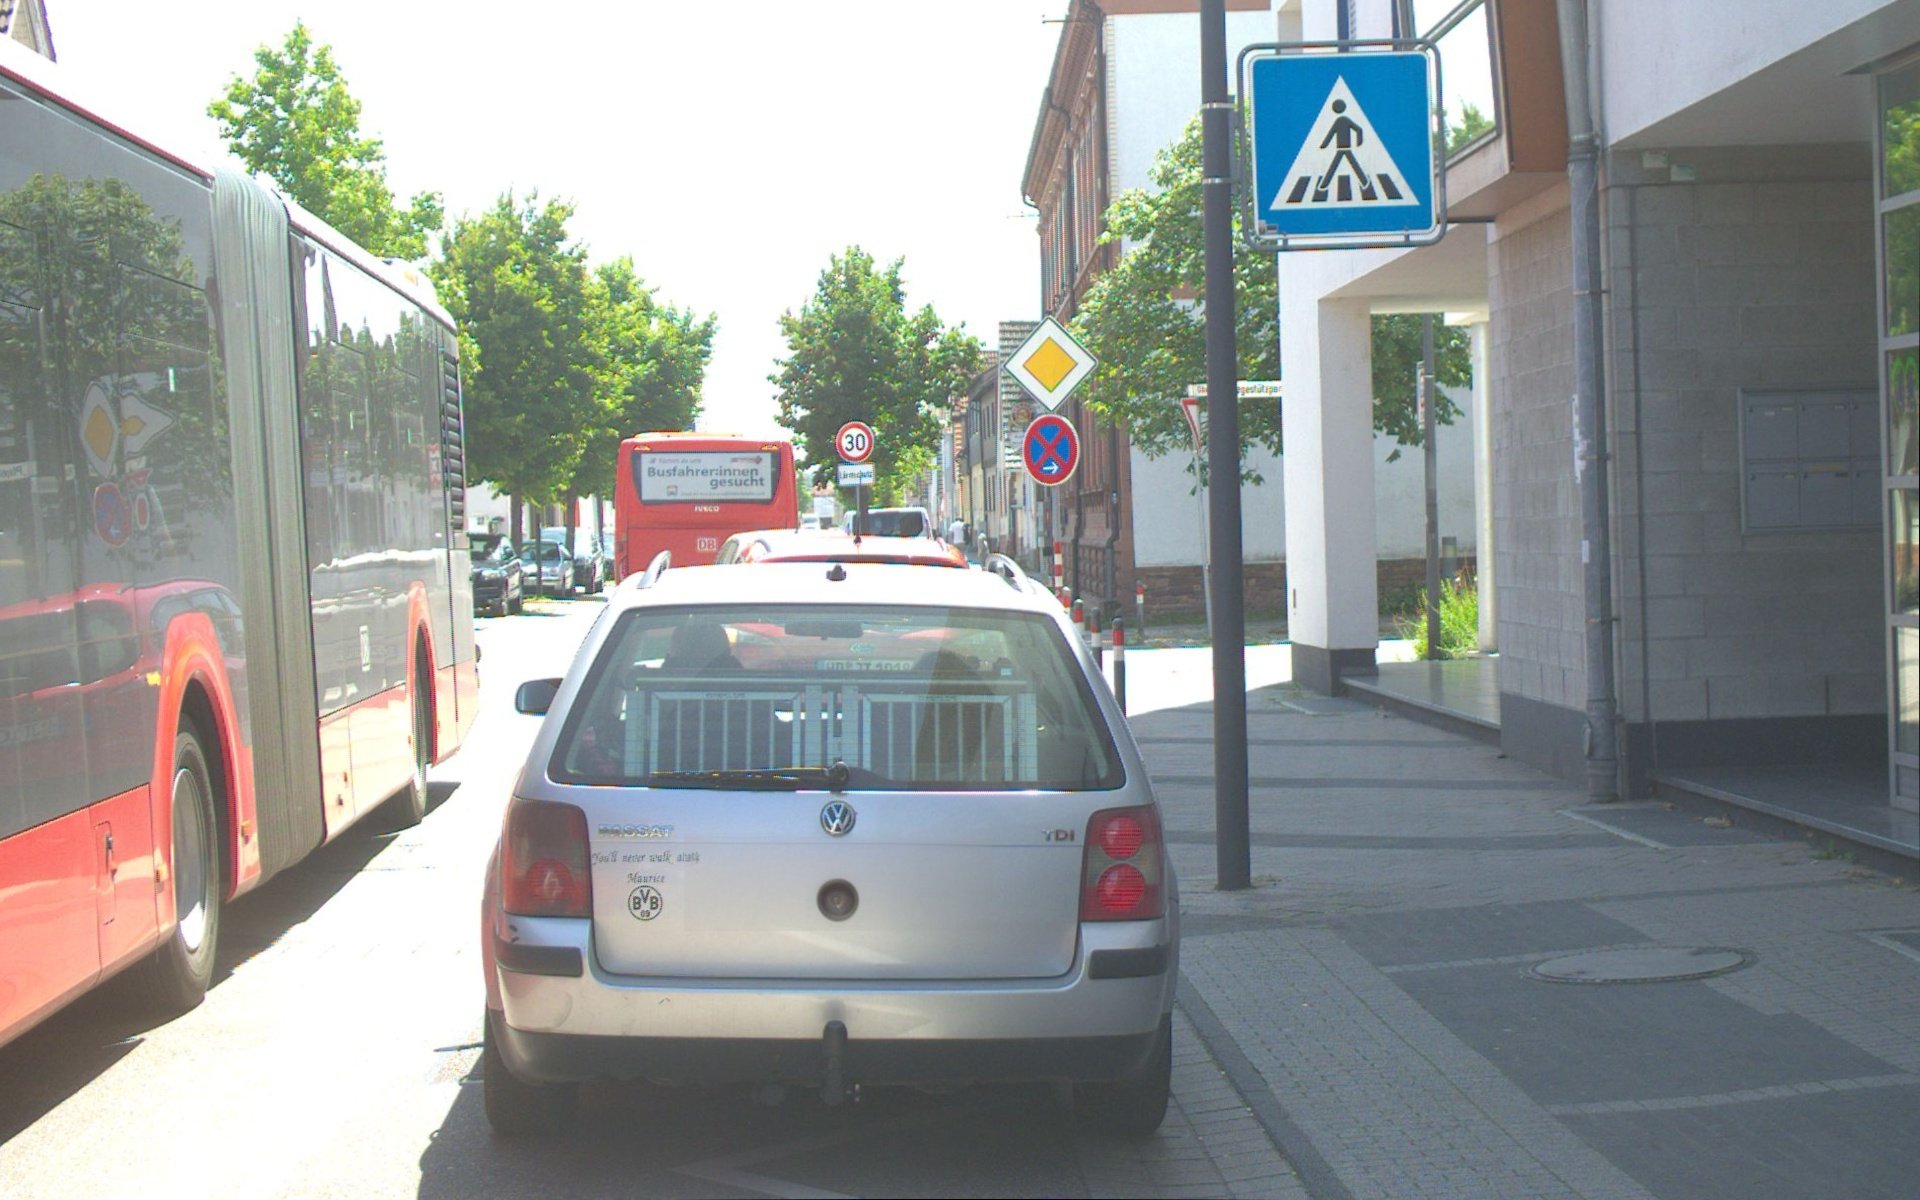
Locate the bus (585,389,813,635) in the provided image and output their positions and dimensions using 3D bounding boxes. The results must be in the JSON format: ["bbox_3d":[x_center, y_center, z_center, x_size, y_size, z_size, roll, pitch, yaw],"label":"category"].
[{"bbox_3d":[-4.200,-1.282,52.685,2.739,3.287,12.708,-1,1,-7],"label":"bus"}]

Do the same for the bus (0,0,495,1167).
[{"bbox_3d":[-3.821,-0.253,11.977,2.668,3.113,17.809,-2,1,-2],"label":"bus"}]

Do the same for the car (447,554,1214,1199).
[{"bbox_3d":[-0.355,0.616,9.491,1.677,1.425,3.680,1,1,-2],"label":"car"}]

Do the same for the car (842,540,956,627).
[{"bbox_3d":[-1.015,-0.288,55.493,1.719,1.304,3.626,-2,1,-2],"label":"car"}]

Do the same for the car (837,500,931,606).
[{"bbox_3d":[-1.585,-0.985,70.598,1.787,2.075,3.626,-2,1,-2],"label":"car"}]

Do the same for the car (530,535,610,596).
[{"bbox_3d":[-10.505,-0.948,92.746,1.811,1.553,4.001,-2,1,-2],"label":"car"}]

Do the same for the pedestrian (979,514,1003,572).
[{"bbox_3d":[0.897,-1.678,101.044,0.606,1.661,0.789,-2,1,-3],"label":"pedestrian"}]

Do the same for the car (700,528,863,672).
[{"bbox_3d":[-1.825,-0.040,36.016,1.593,1.425,3.680,0,1,-1],"label":"car"}]

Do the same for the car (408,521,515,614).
[{"bbox_3d":[-10.308,-0.685,71.288,1.764,1.831,3.789,-2,1,-2],"label":"car"}]

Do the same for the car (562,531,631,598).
[{"bbox_3d":[-11.095,-1.104,105.164,1.811,1.989,4.001,-2,1,-2],"label":"car"}]

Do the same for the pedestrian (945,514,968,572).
[{"bbox_3d":[-0.107,-1.672,100.905,0.606,1.661,0.789,-2,1,-3],"label":"pedestrian"}]

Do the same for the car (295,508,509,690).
[{"bbox_3d":[-5.656,-0.052,35.288,1.675,1.710,4.233,-2,1,-3],"label":"car"}]

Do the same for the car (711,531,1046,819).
[{"bbox_3d":[-0.486,0.350,19.579,1.677,1.425,3.680,-2,1,-2],"label":"car"}]

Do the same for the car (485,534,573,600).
[{"bbox_3d":[-10.757,-0.847,85.945,1.811,1.553,4.001,-2,1,-2],"label":"car"}]
